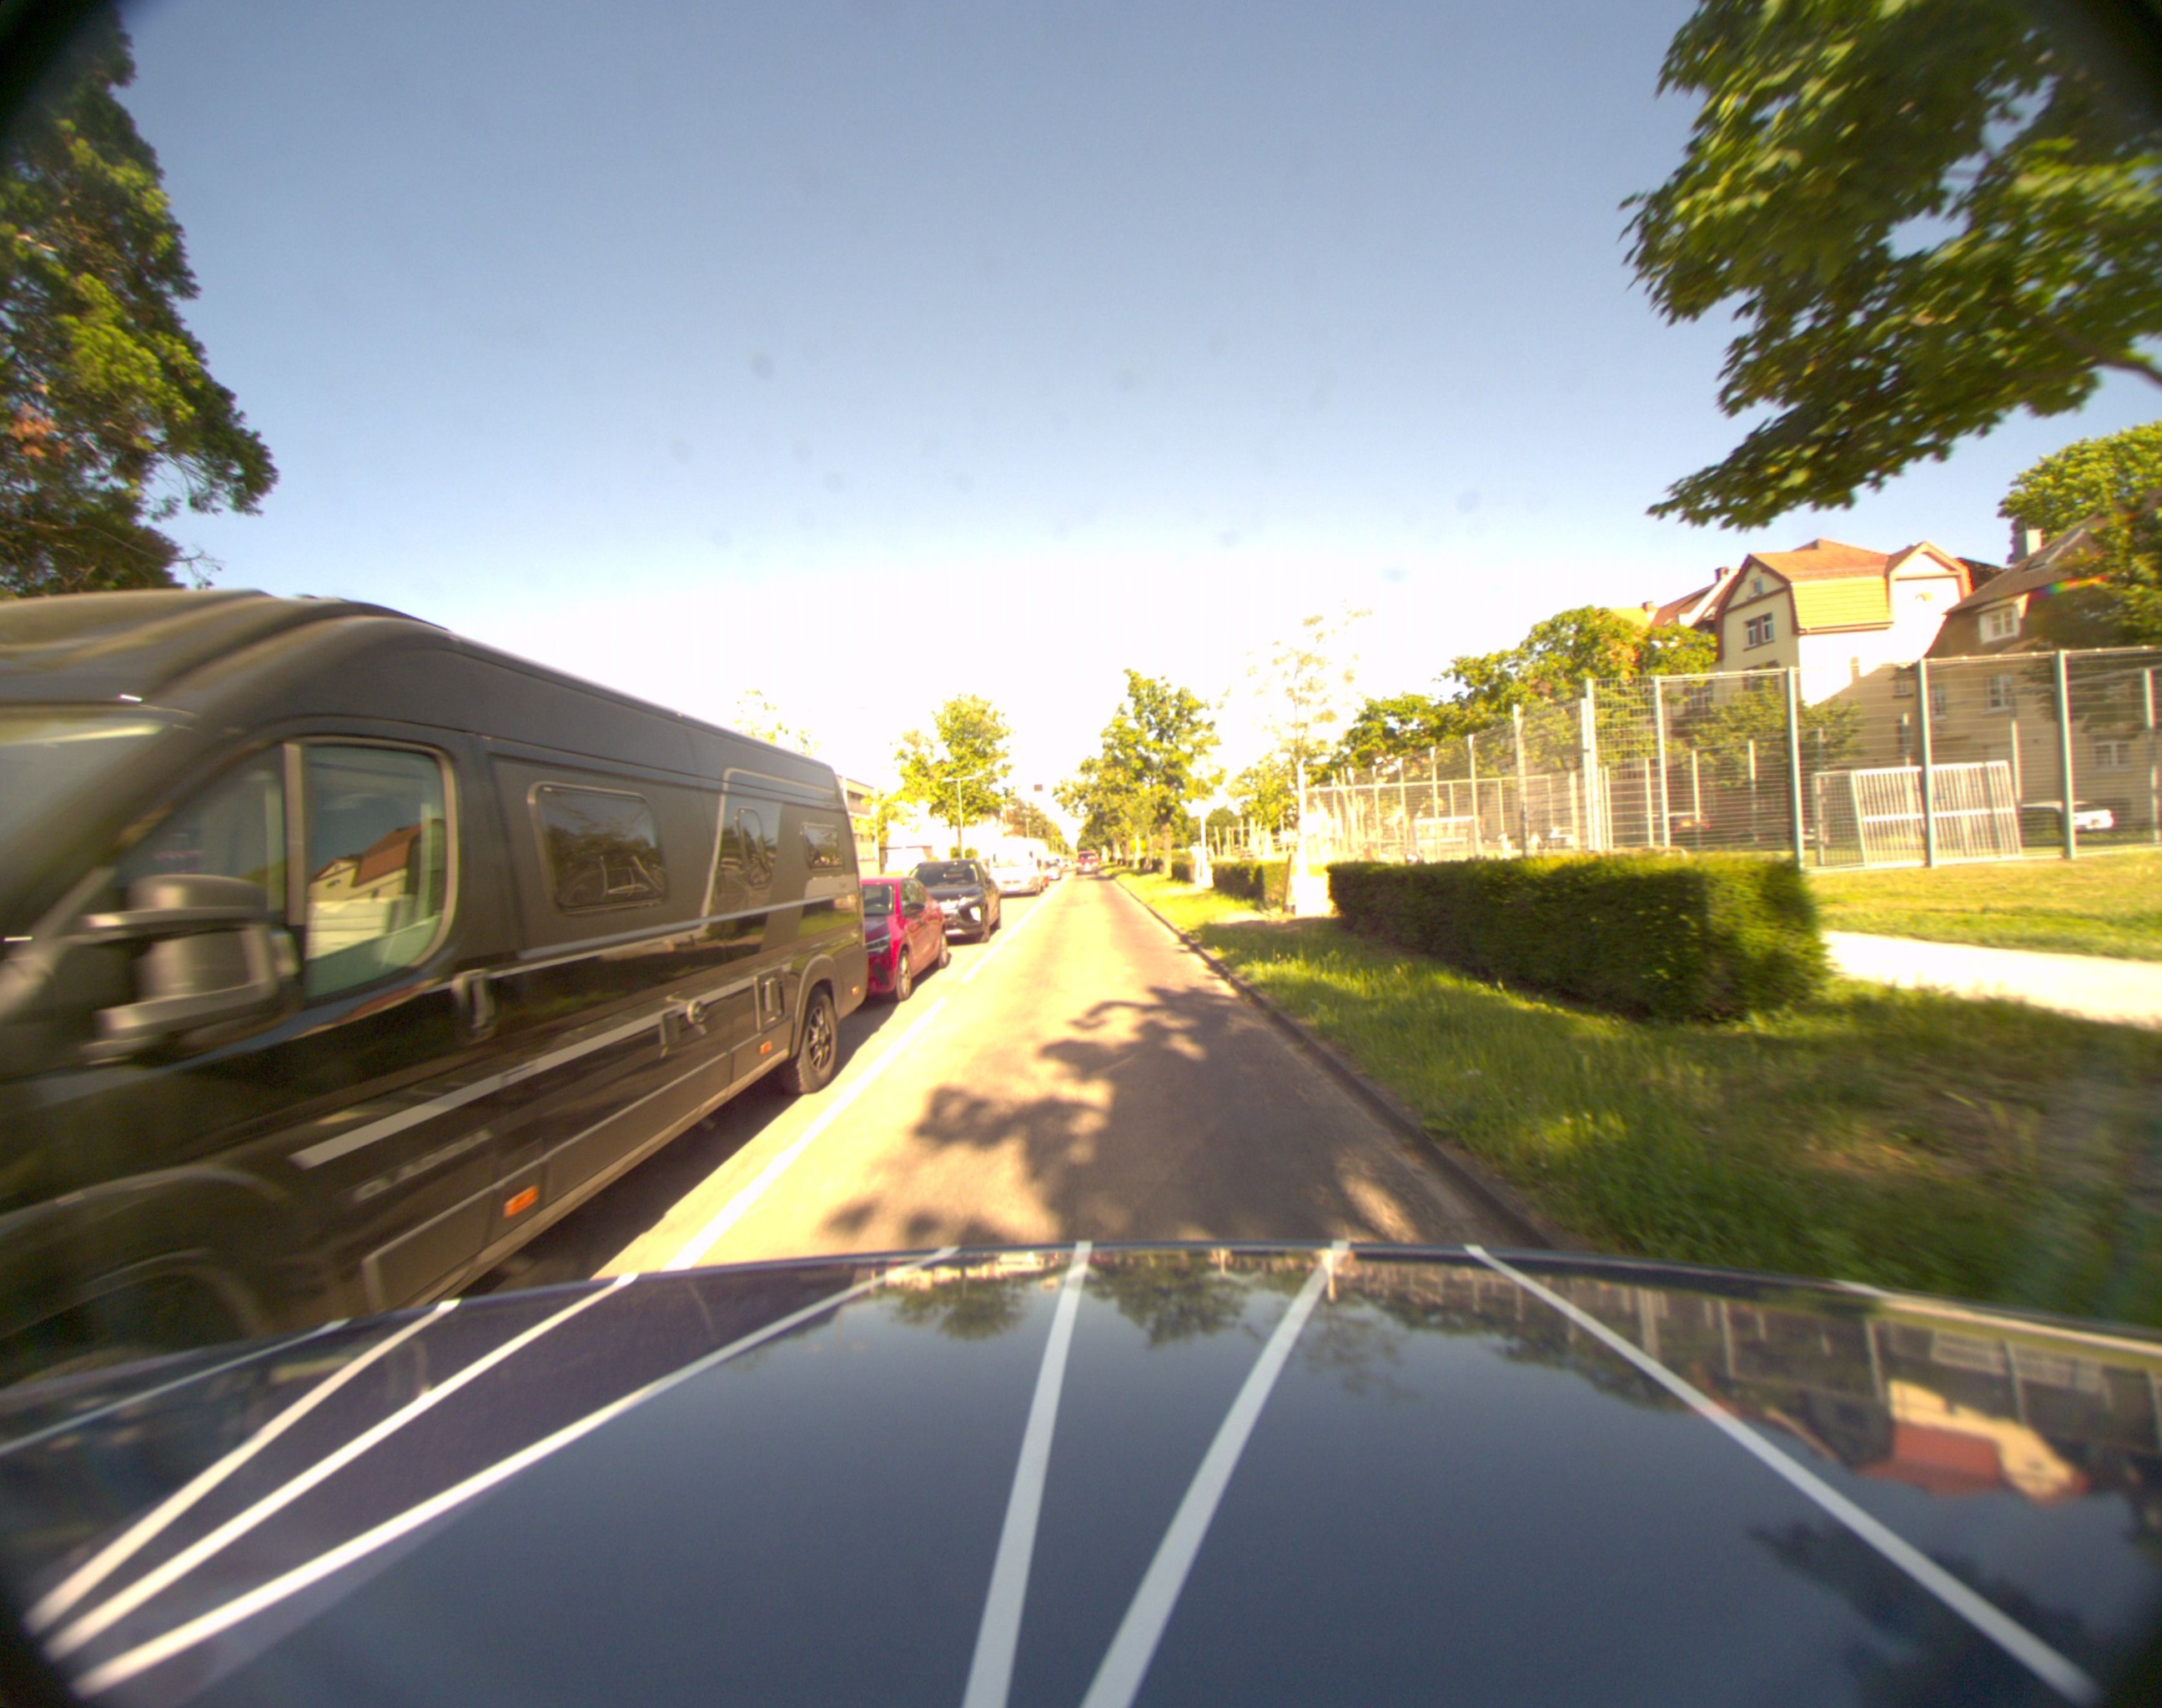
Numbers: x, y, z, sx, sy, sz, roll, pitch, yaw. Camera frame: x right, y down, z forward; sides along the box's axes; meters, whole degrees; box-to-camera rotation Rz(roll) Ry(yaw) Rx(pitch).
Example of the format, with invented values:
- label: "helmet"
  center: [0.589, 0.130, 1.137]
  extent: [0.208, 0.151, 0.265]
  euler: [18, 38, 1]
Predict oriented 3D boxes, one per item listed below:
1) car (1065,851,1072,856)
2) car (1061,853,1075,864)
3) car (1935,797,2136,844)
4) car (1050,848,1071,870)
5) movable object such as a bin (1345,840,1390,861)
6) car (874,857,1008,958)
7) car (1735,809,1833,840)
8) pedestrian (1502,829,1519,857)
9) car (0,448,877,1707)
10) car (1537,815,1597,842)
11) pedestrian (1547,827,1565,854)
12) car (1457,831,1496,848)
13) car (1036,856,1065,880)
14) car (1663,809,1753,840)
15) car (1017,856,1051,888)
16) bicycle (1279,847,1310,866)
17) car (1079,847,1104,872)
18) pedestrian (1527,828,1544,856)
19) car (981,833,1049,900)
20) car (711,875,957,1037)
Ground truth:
- label: "car"
  center: [-3.939, -0.166, 240.554]
  extent: [1.799, 1.529, 4.001]
  euler: [-4, -1, 0]
- label: "car"
  center: [-1.887, 0.642, 110.471]
  extent: [1.664, 1.456, 4.409]
  euler: [-5, 0, -3]
- label: "car"
  center: [39.672, -1.306, 31.836]
  extent: [1.886, 1.642, 5.182]
  euler: [-4, 0, 1]
- label: "car"
  center: [-1.890, 0.422, 71.434]
  extent: [1.812, 1.897, 4.460]
  euler: [-4, 0, -1]
- label: "movable object such as a bin"
  center: [17.906, -0.205, 47.490]
  extent: [2.337, 1.235, 1.056]
  euler: [-3, 0, -3]
- label: "car"
  center: [-2.691, 0.957, 15.689]
  extent: [1.851, 1.631, 4.503]
  euler: [-3, 0, 0]
- label: "car"
  center: [39.779, -1.654, 43.131]
  extent: [1.799, 1.501, 4.000]
  euler: [-4, 0, 1]
- label: "pedestrian"
  center: [21.259, -0.541, 37.618]
  extent: [0.648, 1.310, 0.651]
  euler: [-3, 1, 30]
- label: "car"
  center: [-2.876, 0.595, 3.369]
  extent: [2.121, 2.501, 6.531]
  euler: [-3, 0, -1]
- label: "car"
  center: [40.262, -2.088, 63.111]
  extent: [1.799, 1.971, 4.835]
  euler: [-4, 0, 1]
- label: "pedestrian"
  center: [23.419, -0.660, 37.455]
  extent: [0.648, 1.310, 0.651]
  euler: [-3, 1, 30]
- label: "car"
  center: [40.009, -1.454, 76.890]
  extent: [1.799, 1.545, 4.000]
  euler: [-4, 0, 0]
- label: "car"
  center: [-2.080, 0.923, 53.301]
  extent: [1.705, 1.470, 4.173]
  euler: [-4, 0, 1]
- label: "car"
  center: [35.716, -1.653, 43.405]
  extent: [1.799, 1.501, 4.000]
  euler: [-4, 0, 1]
- label: "car"
  center: [-2.513, 0.935, 41.125]
  extent: [1.624, 1.579, 3.591]
  euler: [-4, 0, -2]
- label: "bicycle"
  center: [13.769, 0.150, 49.047]
  extent: [1.799, 1.101, 0.500]
  euler: [-4, 0, -1]
- label: "car"
  center: [0.877, 0.420, 64.920]
  extent: [2.092, 2.000, 4.844]
  euler: [-1, 0, 0]
- label: "pedestrian"
  center: [22.204, -0.606, 37.140]
  extent: [0.648, 1.310, 0.651]
  euler: [-3, 1, 30]
- label: "car"
  center: [-2.749, 0.480, 33.246]
  extent: [2.246, 2.559, 5.432]
  euler: [-4, 0, 1]
- label: "car"
  center: [-2.873, 1.108, 9.827]
  extent: [1.799, 1.447, 3.949]
  euler: [-3, 0, 0]
